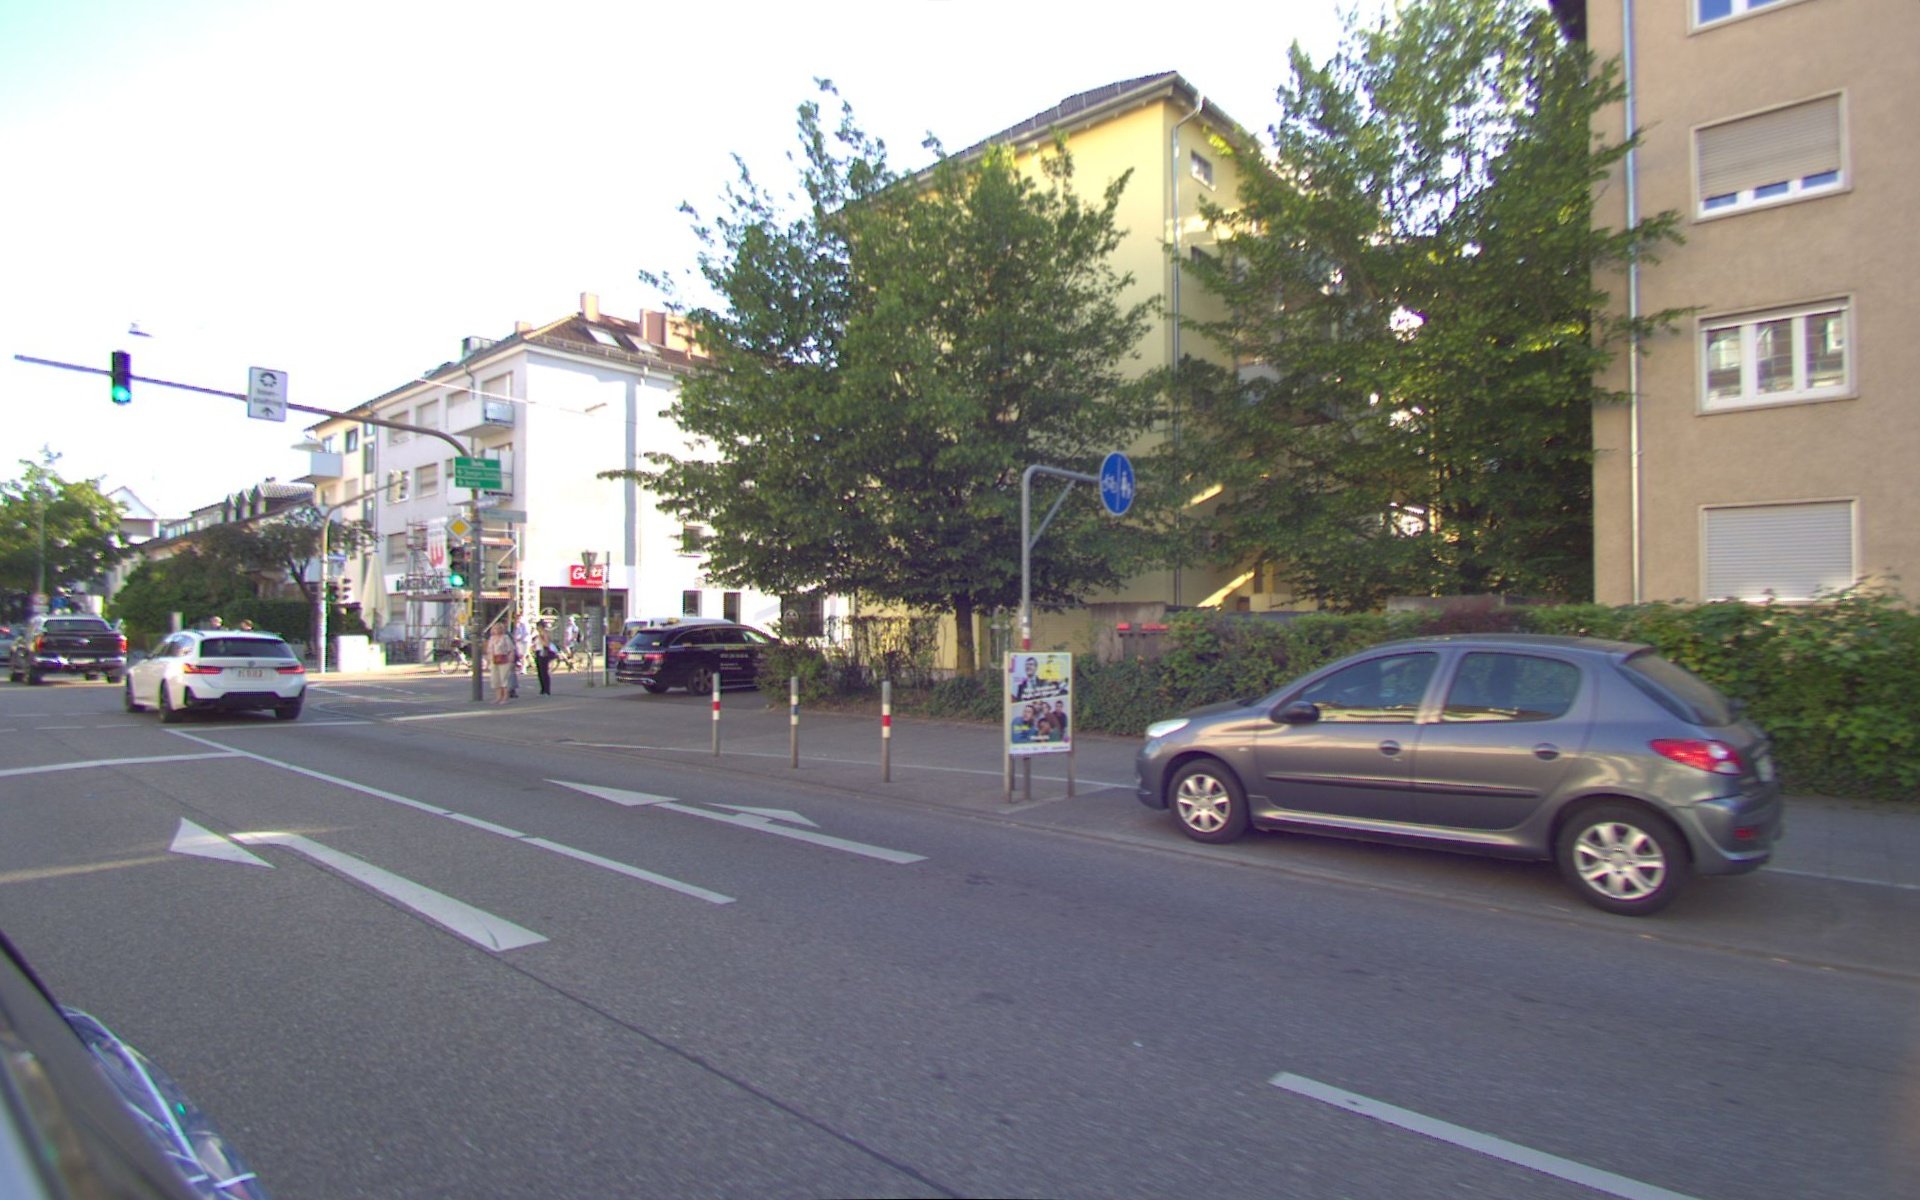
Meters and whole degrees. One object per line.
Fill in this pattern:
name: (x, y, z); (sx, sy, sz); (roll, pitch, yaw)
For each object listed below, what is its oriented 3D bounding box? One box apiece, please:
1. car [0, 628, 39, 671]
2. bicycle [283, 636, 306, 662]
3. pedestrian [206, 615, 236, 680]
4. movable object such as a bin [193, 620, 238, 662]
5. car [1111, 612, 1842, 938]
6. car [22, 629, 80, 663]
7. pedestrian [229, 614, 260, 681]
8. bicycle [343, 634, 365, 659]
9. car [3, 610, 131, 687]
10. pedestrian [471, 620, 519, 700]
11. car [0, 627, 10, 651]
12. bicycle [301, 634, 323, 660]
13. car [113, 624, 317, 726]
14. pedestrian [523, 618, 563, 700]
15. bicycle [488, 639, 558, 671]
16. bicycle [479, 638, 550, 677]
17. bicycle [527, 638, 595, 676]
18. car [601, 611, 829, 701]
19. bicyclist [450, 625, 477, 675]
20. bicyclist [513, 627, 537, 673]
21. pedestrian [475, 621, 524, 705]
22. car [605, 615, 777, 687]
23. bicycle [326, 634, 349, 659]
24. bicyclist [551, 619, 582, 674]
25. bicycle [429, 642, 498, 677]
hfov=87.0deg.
car: (-36.740, 1.871, 38.757); (3.999, 1.569, 1.785); (-1, -1, 42)
bicycle: (-26.954, 1.971, 40.981); (1.477, 1.022, 0.433); (-2, -2, 44)
pedestrian: (-23.548, 1.505, 32.260); (0.739, 2.029, 0.631); (-2, -2, 43)
movable object such as a bin: (-32.392, 1.763, 44.016); (1.180, 1.670, 1.292); (0, 2, 41)
car: (3.092, 0.854, 6.596); (3.943, 1.490, 1.635); (-2, -2, 43)
car: (-43.352, 2.150, 48.252); (3.572, 1.547, 1.732); (-1, -2, 43)
pedestrian: (-22.231, 1.460, 31.442); (0.814, 2.029, 0.637); (0, 0, 43)
bicycle: (-25.386, 1.938, 42.394); (1.477, 1.022, 0.433); (-2, -2, 44)
car: (-23.633, 1.245, 26.715); (5.225, 1.844, 1.842); (-1, -4, 41)
pedestrian: (-9.949, 1.275, 21.662); (0.607, 1.670, 0.741); (-1, -2, 34)
car: (-68.358, 2.732, 71.250); (4.408, 1.626, 1.818); (-1, -2, 42)
bicycle: (-26.528, 1.921, 41.404); (1.477, 1.022, 0.433); (-2, -2, 44)
car: (-12.642, 1.182, 17.062); (4.670, 1.485, 1.817); (-2, -3, 42)
pedestrian: (-8.845, 1.234, 21.502); (0.598, 1.641, 0.752); (-2, 2, -12)
bicycle: (-15.676, 1.986, 36.324); (2.233, 1.097, 0.730); (2, 0, -30)
bicycle: (-14.078, 1.807, 32.009); (0.726, 1.175, 1.975); (-3, -3, 35)
bicycle: (-12.764, 1.814, 32.440); (0.726, 1.166, 1.975); (-3, -3, 35)
car: (-5.143, 1.107, 21.775); (1.842, 1.626, 4.544); (-2, 0, 40)
bicyclist: (-16.775, 1.692, 34.168); (0.662, 1.666, 0.751); (1, -3, -39)
bicyclist: (-15.627, 1.778, 36.349); (0.677, 1.606, 0.752); (2, 0, -29)
pedestrian: (-9.086, 1.225, 19.973); (0.749, 1.606, 0.601); (0, 0, 39)
car: (-7.496, 1.380, 28.539); (1.907, 1.862, 4.426); (-1, -2, 41)
bicycle: (-25.818, 1.919, 41.962); (1.477, 1.022, 0.433); (-2, -2, 44)
bicyclist: (-12.674, 1.485, 32.587); (0.748, 1.734, 0.601); (-3, -3, 36)
bicycle: (-16.748, 1.993, 34.178); (1.967, 1.097, 0.729); (1, -3, -39)
